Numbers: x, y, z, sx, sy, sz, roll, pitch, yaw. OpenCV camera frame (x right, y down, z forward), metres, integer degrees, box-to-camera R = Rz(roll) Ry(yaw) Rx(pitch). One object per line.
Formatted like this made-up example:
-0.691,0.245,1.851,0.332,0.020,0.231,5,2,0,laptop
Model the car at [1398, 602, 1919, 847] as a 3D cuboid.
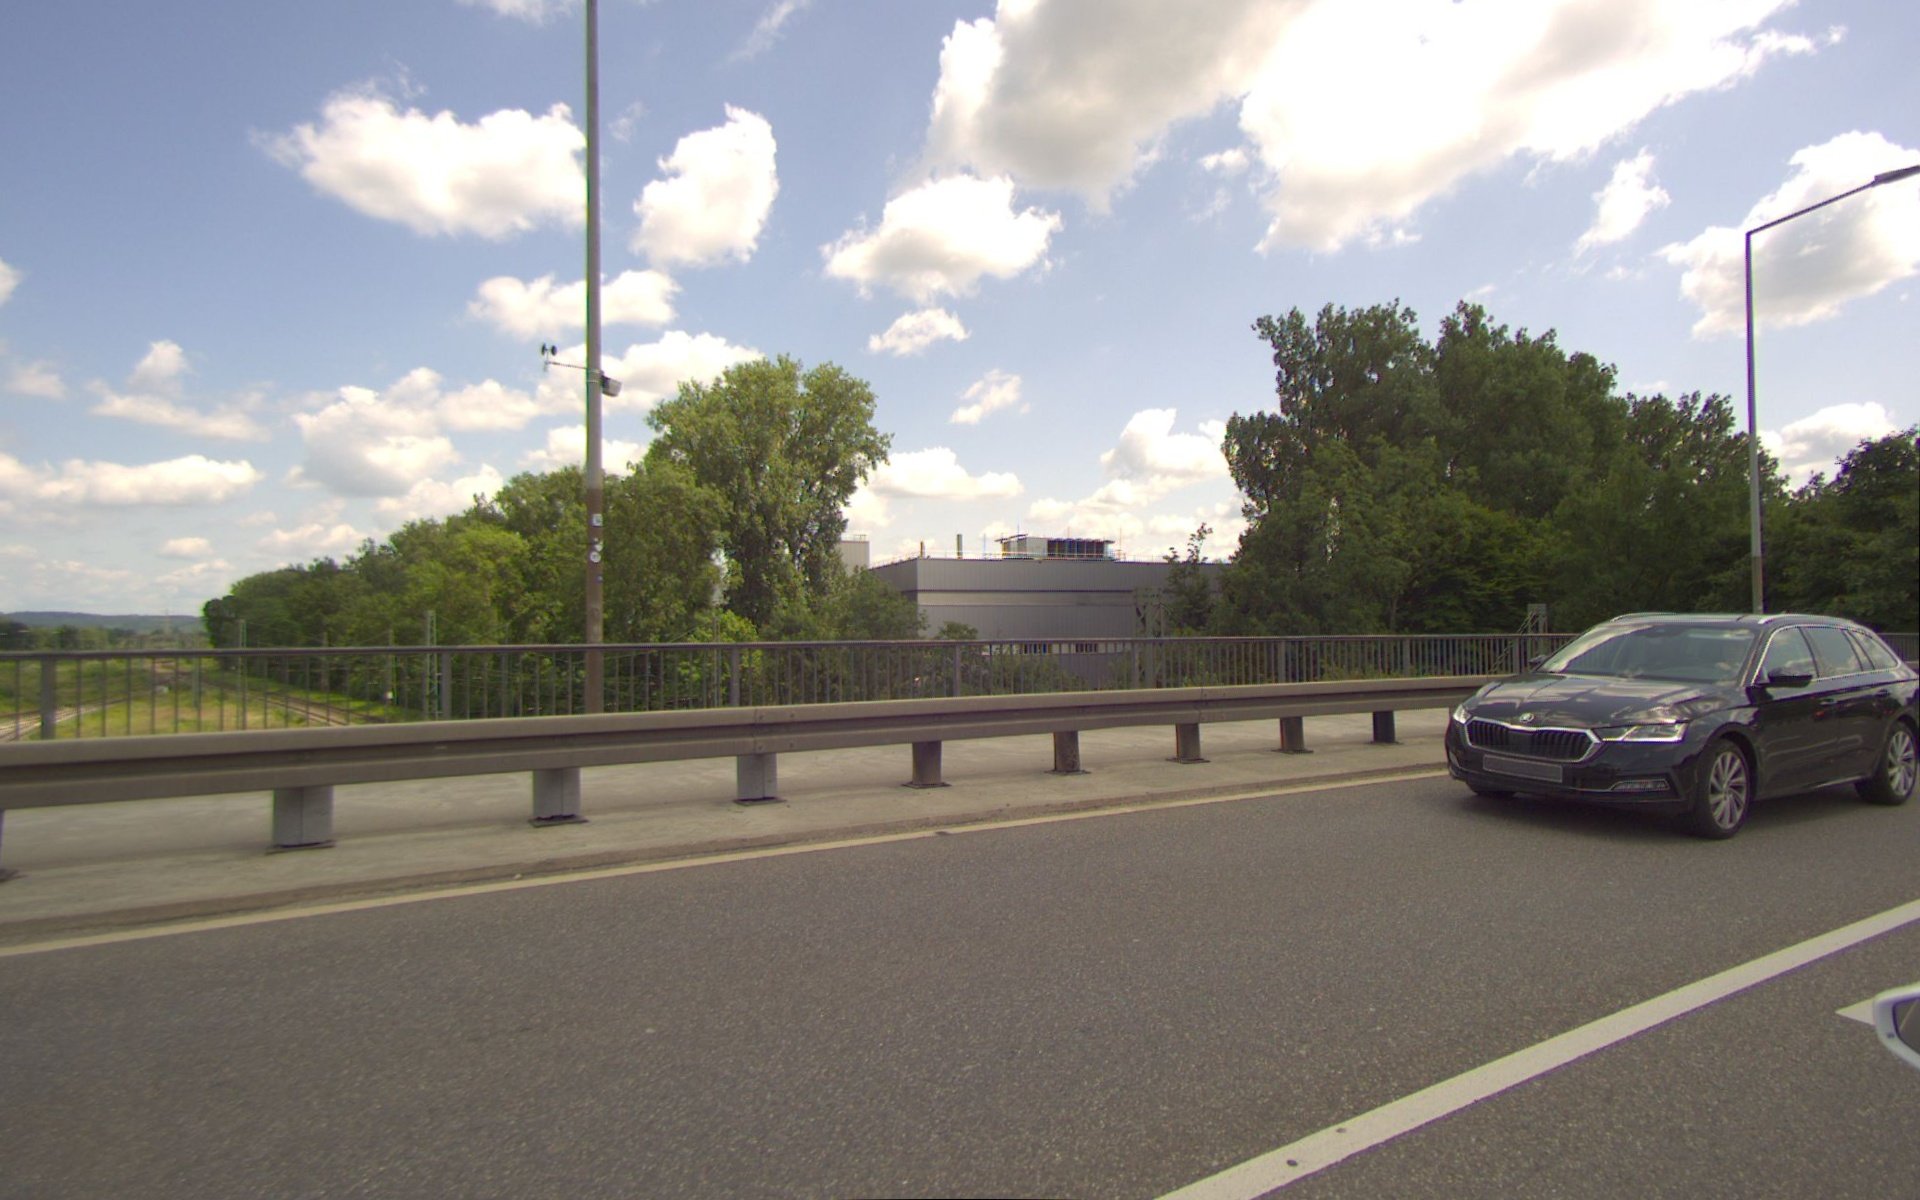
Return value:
5.849,0.762,8.003,4.676,1.471,1.810,0,1,-28,car
